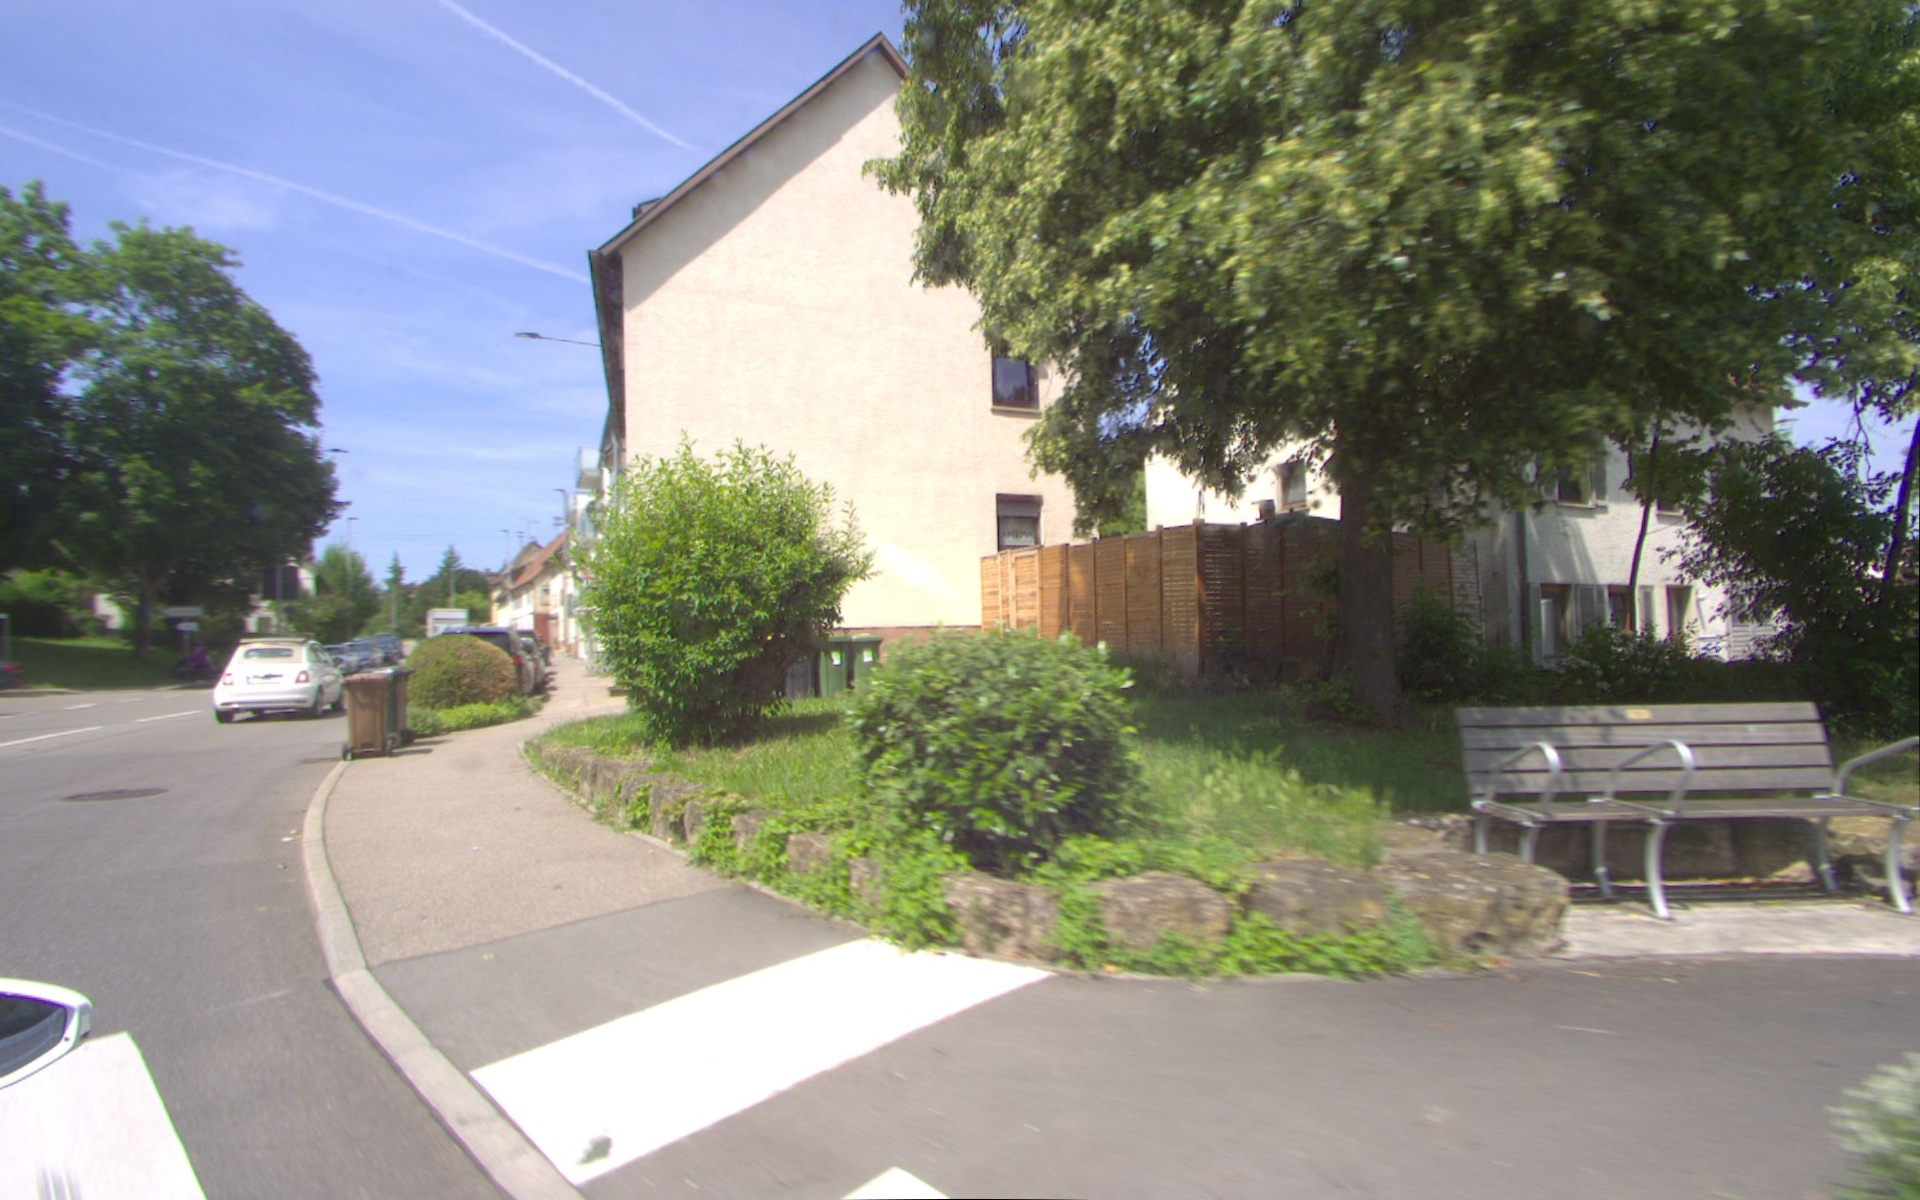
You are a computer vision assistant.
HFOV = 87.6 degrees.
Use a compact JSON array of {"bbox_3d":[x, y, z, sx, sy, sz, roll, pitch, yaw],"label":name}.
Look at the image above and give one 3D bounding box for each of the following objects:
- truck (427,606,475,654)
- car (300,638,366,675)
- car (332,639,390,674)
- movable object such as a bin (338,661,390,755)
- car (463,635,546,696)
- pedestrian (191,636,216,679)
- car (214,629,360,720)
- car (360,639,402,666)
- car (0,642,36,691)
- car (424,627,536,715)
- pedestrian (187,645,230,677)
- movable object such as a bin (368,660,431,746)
[{"bbox_3d":[-42.514,2.558,83.475,3.034,3.822,7.830,-1,-2,-30],"label":"truck"},{"bbox_3d":[-28.187,2.512,45.140,1.731,1.486,4.350,-3,-1,-23],"label":"car"},{"bbox_3d":[-30.269,2.807,50.688,1.748,1.547,4.211,-3,-1,-21],"label":"car"},{"bbox_3d":[-6.747,1.207,11.355,0.494,1.006,0.501,0,-1,-30],"label":"movable object such as a bin"},{"bbox_3d":[-12.253,1.703,27.131,1.764,1.438,4.347,-1,-1,-21],"label":"car"},{"bbox_3d":[-29.322,2.228,38.806,0.724,1.637,0.624,1,-2,-39],"label":"pedestrian"},{"bbox_3d":[-13.255,1.410,19.958,1.702,1.580,3.988,0,-2,-23],"label":"car"},{"bbox_3d":[-35.266,3.174,61.084,1.781,1.442,4.910,-2,0,-25],"label":"car"},{"bbox_3d":[-31.419,1.982,30.454,4.742,1.497,1.983,5,-5,-41],"label":"car"},{"bbox_3d":[-10.300,1.480,21.779,1.819,1.690,4.645,0,-3,-21],"label":"car"},{"bbox_3d":[-30.207,2.436,40.276,1.219,1.285,0.645,1,-2,-18],"label":"pedestrian"},{"bbox_3d":[-6.832,1.252,12.229,0.516,1.006,0.501,0,0,-8],"label":"movable object such as a bin"}]
